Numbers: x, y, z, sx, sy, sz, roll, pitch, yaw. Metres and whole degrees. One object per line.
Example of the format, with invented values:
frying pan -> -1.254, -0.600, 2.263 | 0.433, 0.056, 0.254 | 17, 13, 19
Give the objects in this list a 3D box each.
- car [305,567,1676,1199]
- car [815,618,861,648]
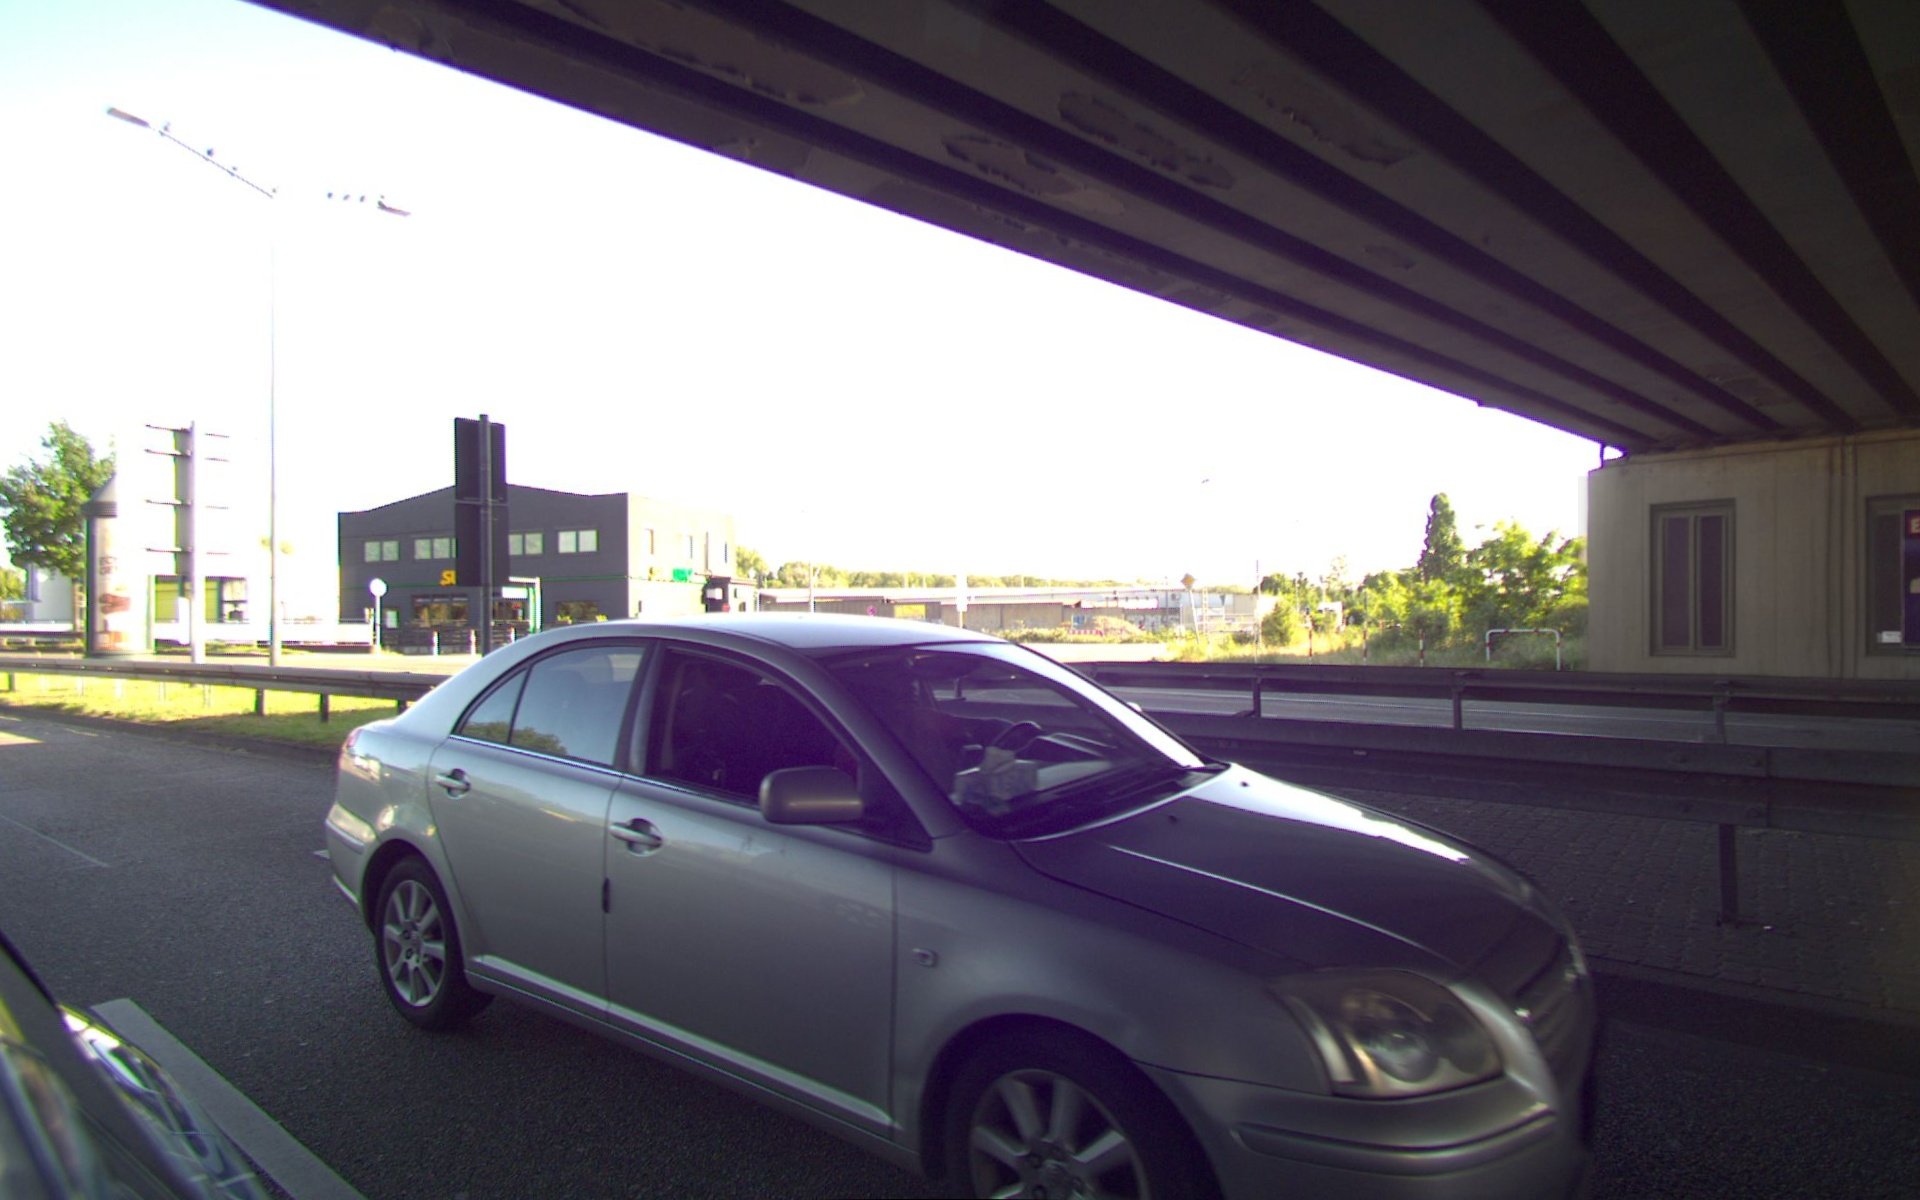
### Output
car -> -0.313, 0.728, 3.382 | 4.389, 1.466, 1.681 | -2, -1, 36
car -> -6.589, 1.770, 55.023 | 1.858, 1.453, 3.996 | -1, 0, 3
